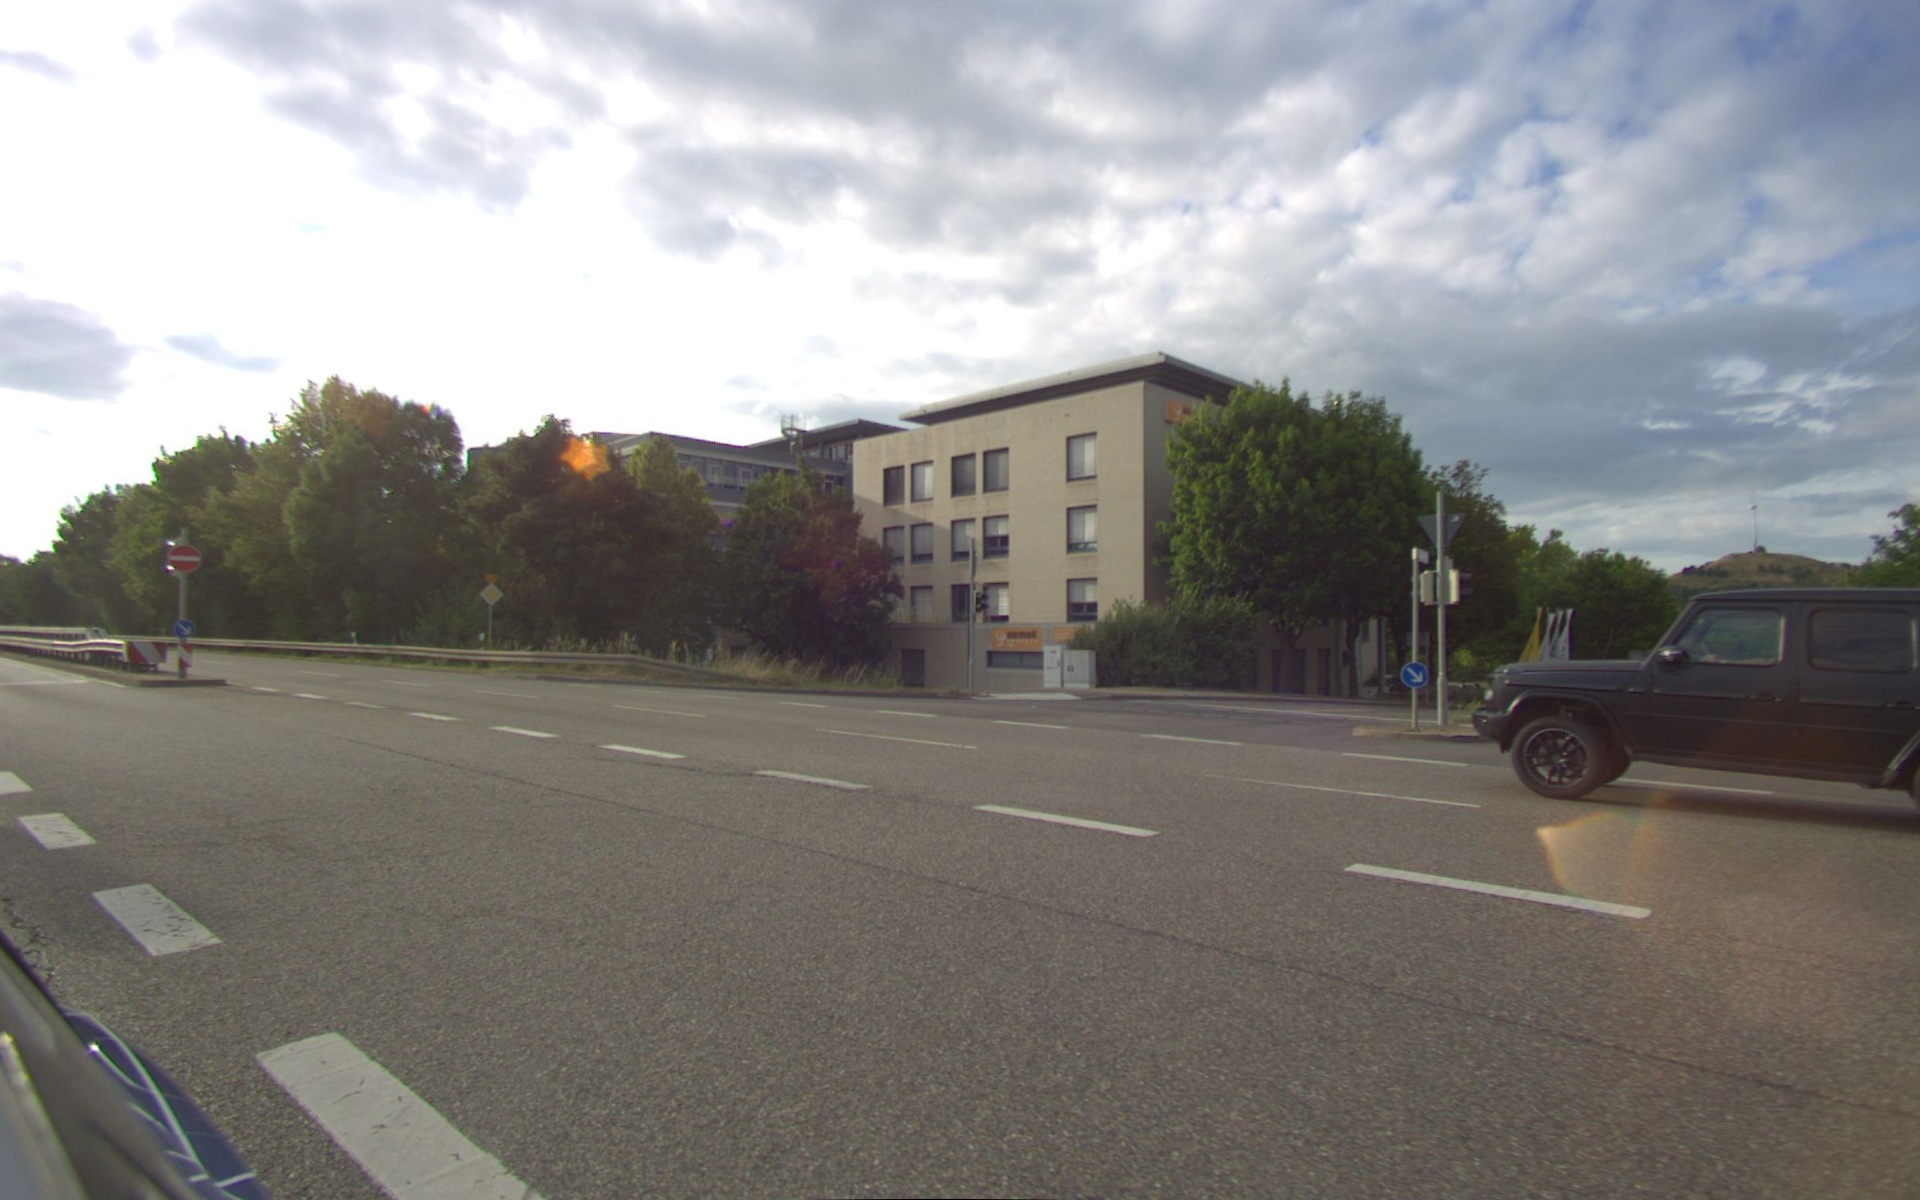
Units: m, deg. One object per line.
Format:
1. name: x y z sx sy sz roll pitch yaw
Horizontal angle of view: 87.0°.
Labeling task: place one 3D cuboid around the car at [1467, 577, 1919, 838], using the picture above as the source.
1. car: 7.511 0.876 8.978 5.090 2.005 1.913 -1 -3 42
